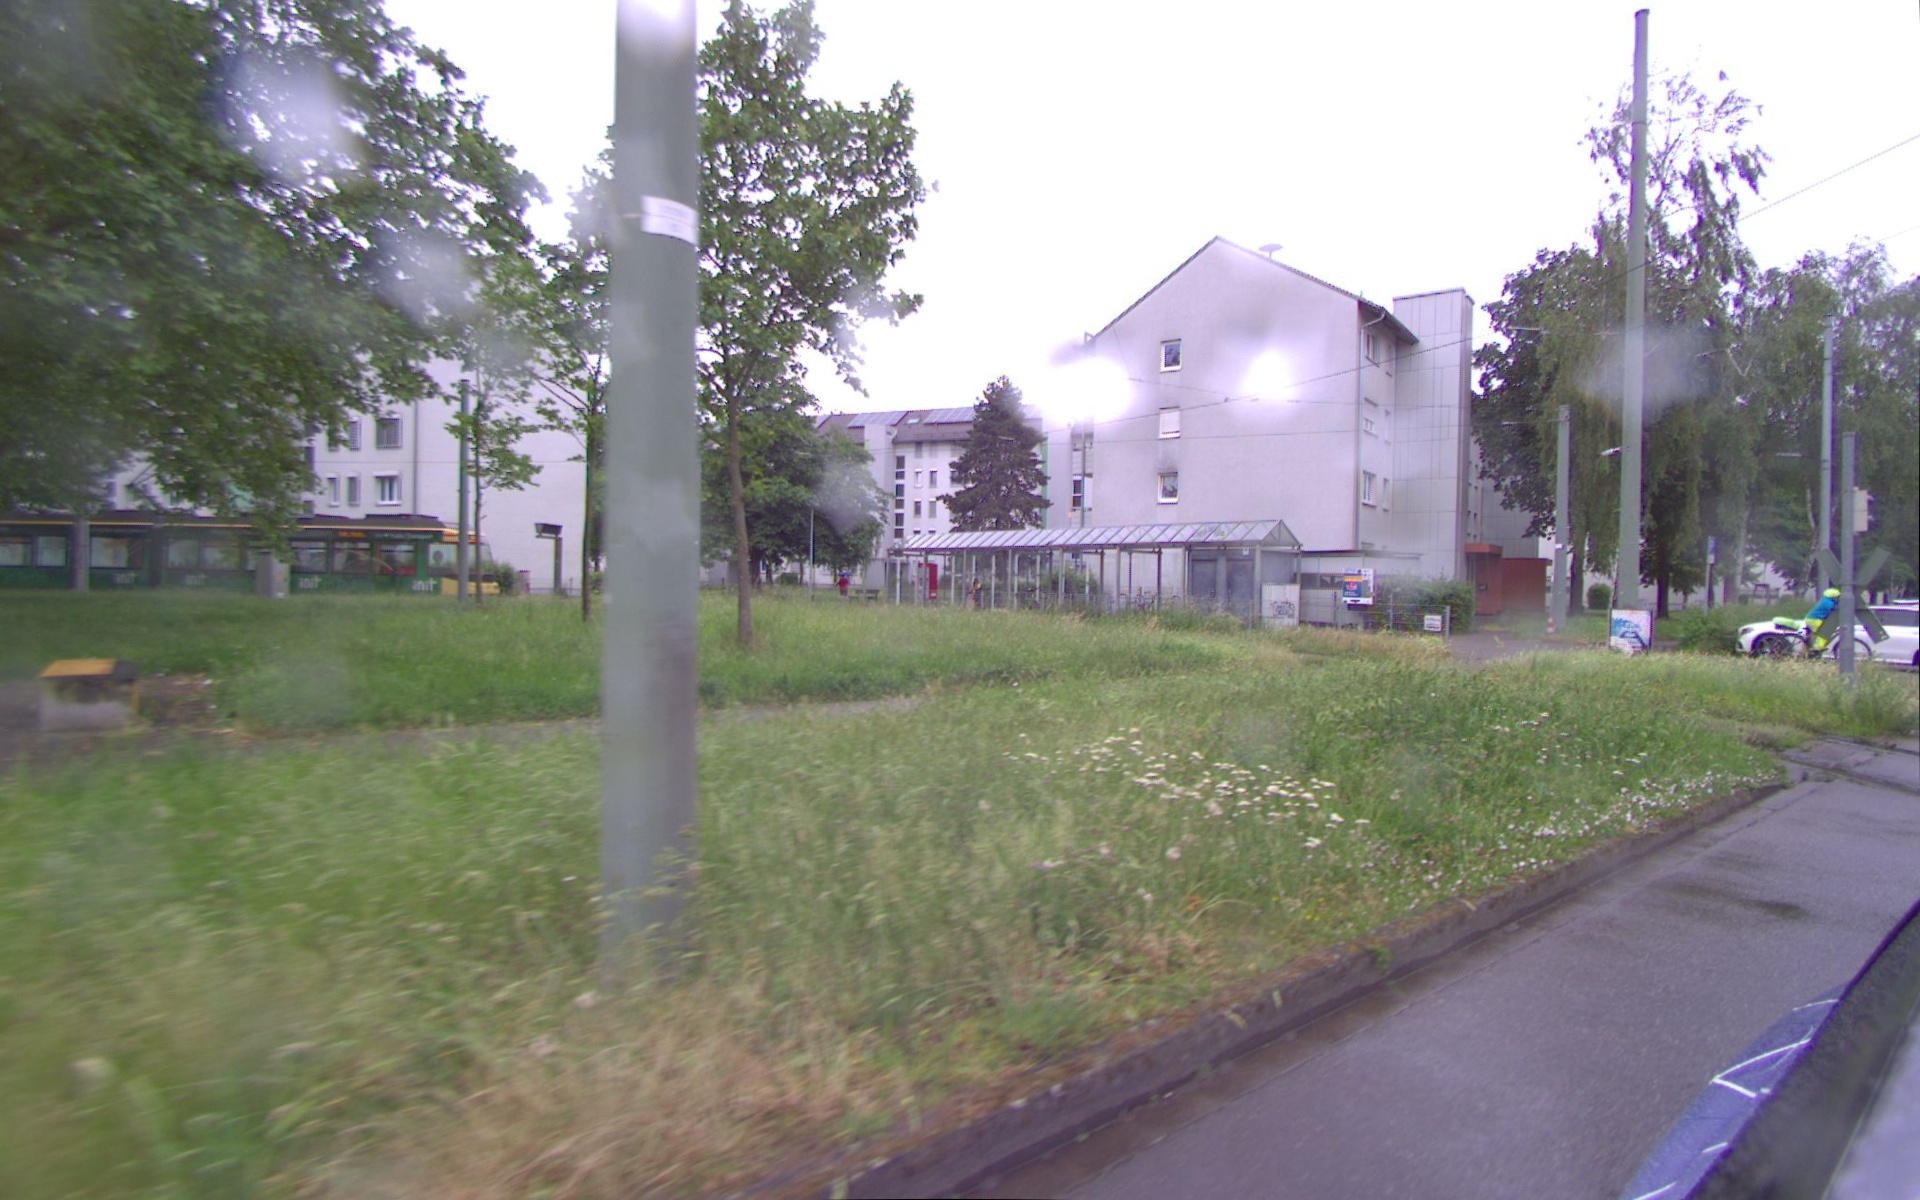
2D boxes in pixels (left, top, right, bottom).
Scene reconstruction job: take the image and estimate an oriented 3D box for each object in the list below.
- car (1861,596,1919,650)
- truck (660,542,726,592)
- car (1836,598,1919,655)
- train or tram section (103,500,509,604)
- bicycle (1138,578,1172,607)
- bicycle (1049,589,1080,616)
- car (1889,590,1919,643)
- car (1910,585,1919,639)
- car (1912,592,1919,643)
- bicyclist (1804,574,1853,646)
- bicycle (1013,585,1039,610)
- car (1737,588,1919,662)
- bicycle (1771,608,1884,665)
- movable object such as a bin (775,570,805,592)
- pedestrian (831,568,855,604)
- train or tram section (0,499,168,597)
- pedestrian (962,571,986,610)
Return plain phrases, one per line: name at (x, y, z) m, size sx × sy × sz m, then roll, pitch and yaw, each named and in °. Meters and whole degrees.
car at (29.913, 0.682, 30.414) m, size 1.691 × 1.606 × 3.996 m, roll 0°, pitch -1°, yaw -38°
truck at (-20.295, -2.387, 76.602) m, size 3.138 × 3.518 × 7.155 m, roll 0°, pitch -1°, yaw -29°
car at (26.180, 0.685, 26.982) m, size 1.691 × 1.505 × 3.996 m, roll 0°, pitch -1°, yaw -38°
train or tram section at (-24.792, -1.794, 38.543) m, size 14.481 × 3.635 × 2.710 m, roll 1°, pitch -1°, yaw 6°
bicycle at (6.571, -0.244, 34.058) m, size 1.215 × 0.968 × 0.377 m, roll 0°, pitch -1°, yaw -37°
bicycle at (3.843, 0.091, 37.132) m, size 1.215 × 0.959 × 0.377 m, roll 0°, pitch -1°, yaw -37°
car at (35.468, 0.559, 35.172) m, size 1.691 × 1.869 × 4.441 m, roll 0°, pitch -1°, yaw -38°
car at (39.389, 0.458, 38.640) m, size 1.693 × 2.088 × 4.436 m, roll 0°, pitch -1°, yaw -42°
car at (37.498, 0.625, 36.452) m, size 1.691 × 1.869 × 4.441 m, roll 0°, pitch -1°, yaw -38°
bicyclist at (18.769, 0.209, 21.881) m, size 0.693 × 1.536 × 0.716 m, roll 1°, pitch -1°, yaw 32°
bicycle at (2.553, -0.084, 38.952) m, size 0.415 × 0.959 × 1.291 m, roll -1°, pitch -1°, yaw 35°
car at (21.321, 0.586, 23.487) m, size 1.963 × 1.476 × 4.840 m, roll 1°, pitch 3°, yaw -38°
bicycle at (18.723, 0.762, 21.893) m, size 1.740 × 1.144 × 0.720 m, roll 1°, pitch 0°, yaw 33°
movable object such as a bin at (-16.105, -1.793, 95.762) m, size 1.884 × 2.039 × 2.218 m, roll -1°, pitch -1°, yaw 25°
pedestrian at (-6.319, -0.749, 54.557) m, size 1.165 × 1.908 × 1.056 m, roll 0°, pitch -1°, yaw -12°
train or tram section at (-39.196, -2.051, 40.126) m, size 14.481 × 3.635 × 2.710 m, roll 1°, pitch -1°, yaw 6°
pedestrian at (0.574, -0.399, 42.252) m, size 0.776 × 1.593 × 0.635 m, roll 0°, pitch -1°, yaw -41°
